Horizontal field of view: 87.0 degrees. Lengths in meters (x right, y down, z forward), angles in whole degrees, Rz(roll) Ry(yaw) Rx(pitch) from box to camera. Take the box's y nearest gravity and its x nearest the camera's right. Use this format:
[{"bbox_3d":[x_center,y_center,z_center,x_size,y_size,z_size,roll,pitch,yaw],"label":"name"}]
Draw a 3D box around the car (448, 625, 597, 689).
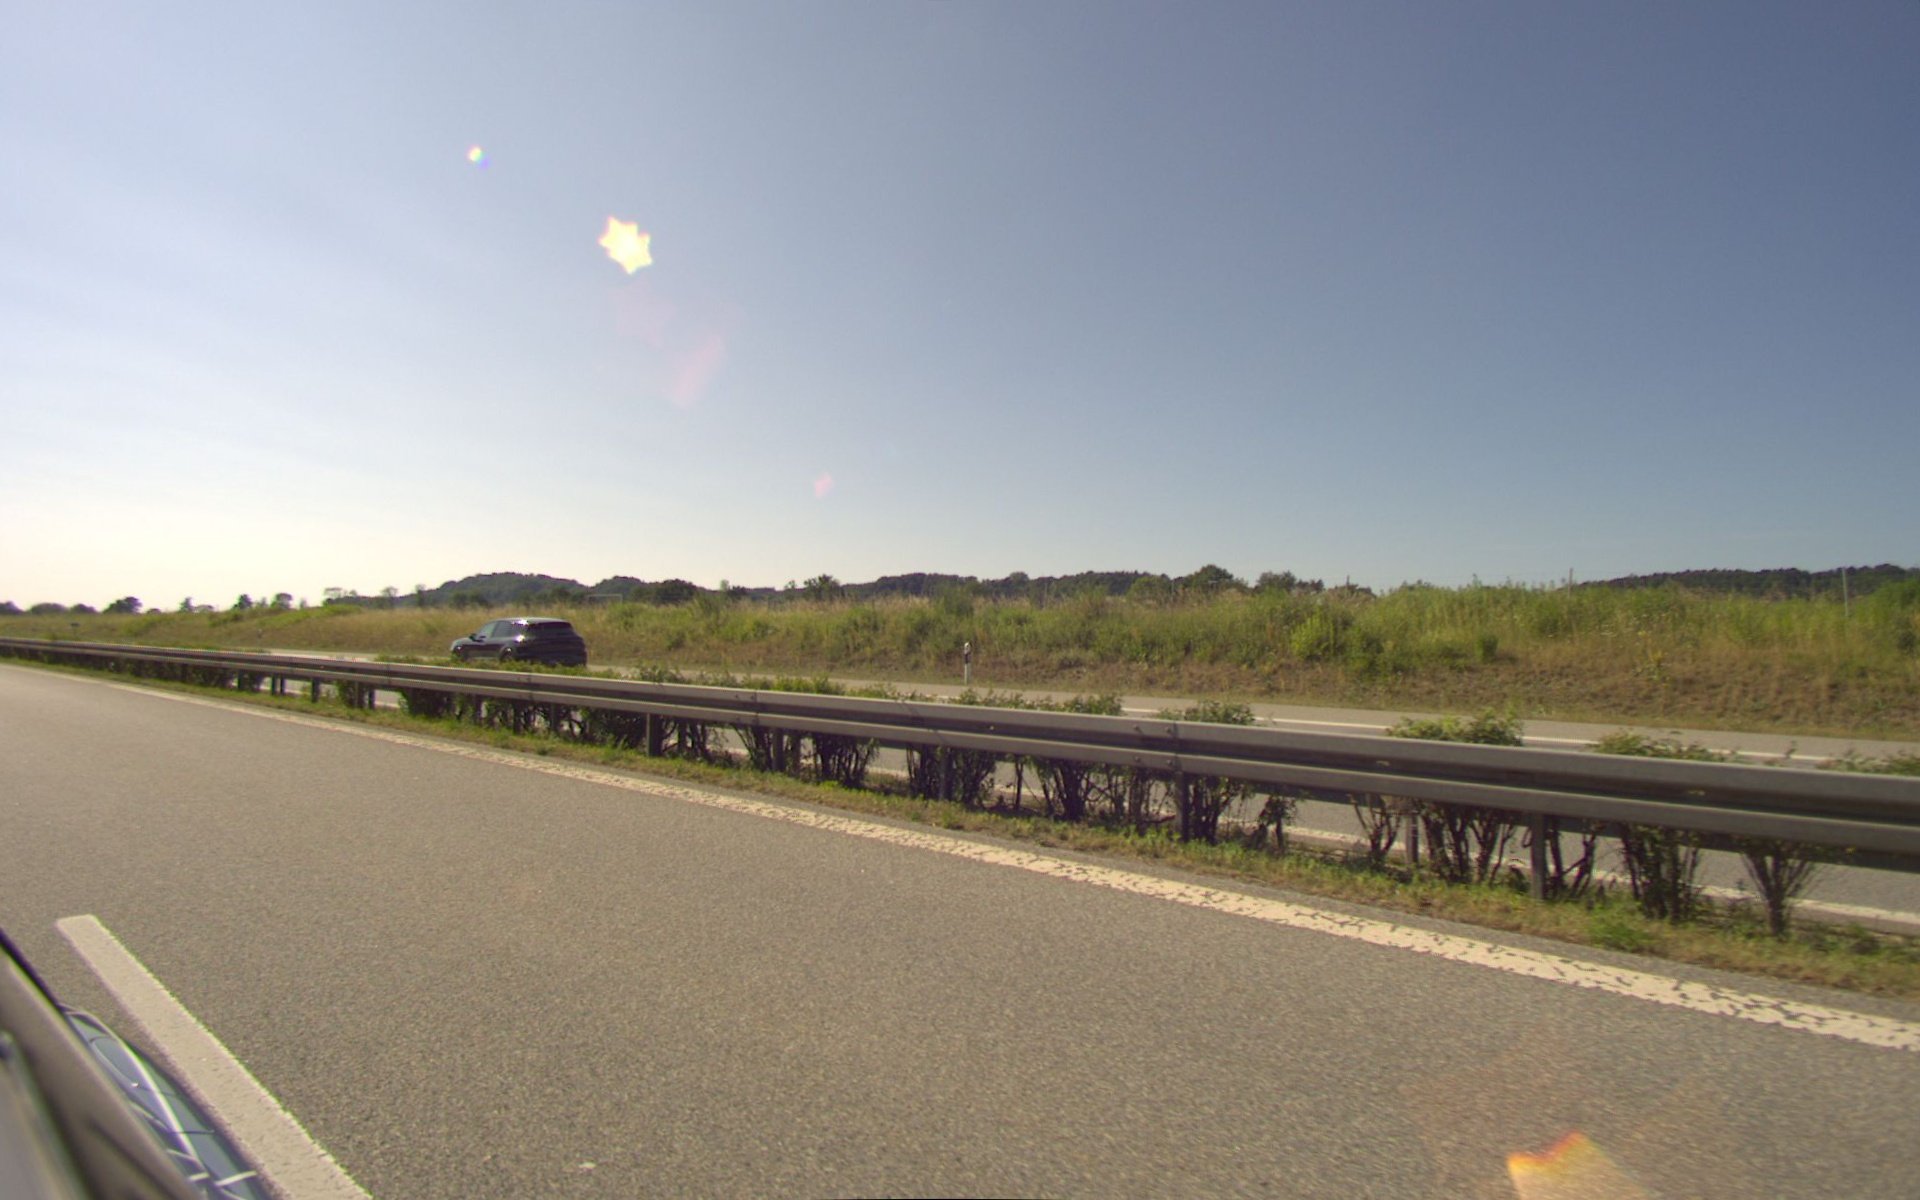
[{"bbox_3d":[-11.795,1.489,27.158,4.460,1.564,1.814,-2,-2,39],"label":"car"}]
